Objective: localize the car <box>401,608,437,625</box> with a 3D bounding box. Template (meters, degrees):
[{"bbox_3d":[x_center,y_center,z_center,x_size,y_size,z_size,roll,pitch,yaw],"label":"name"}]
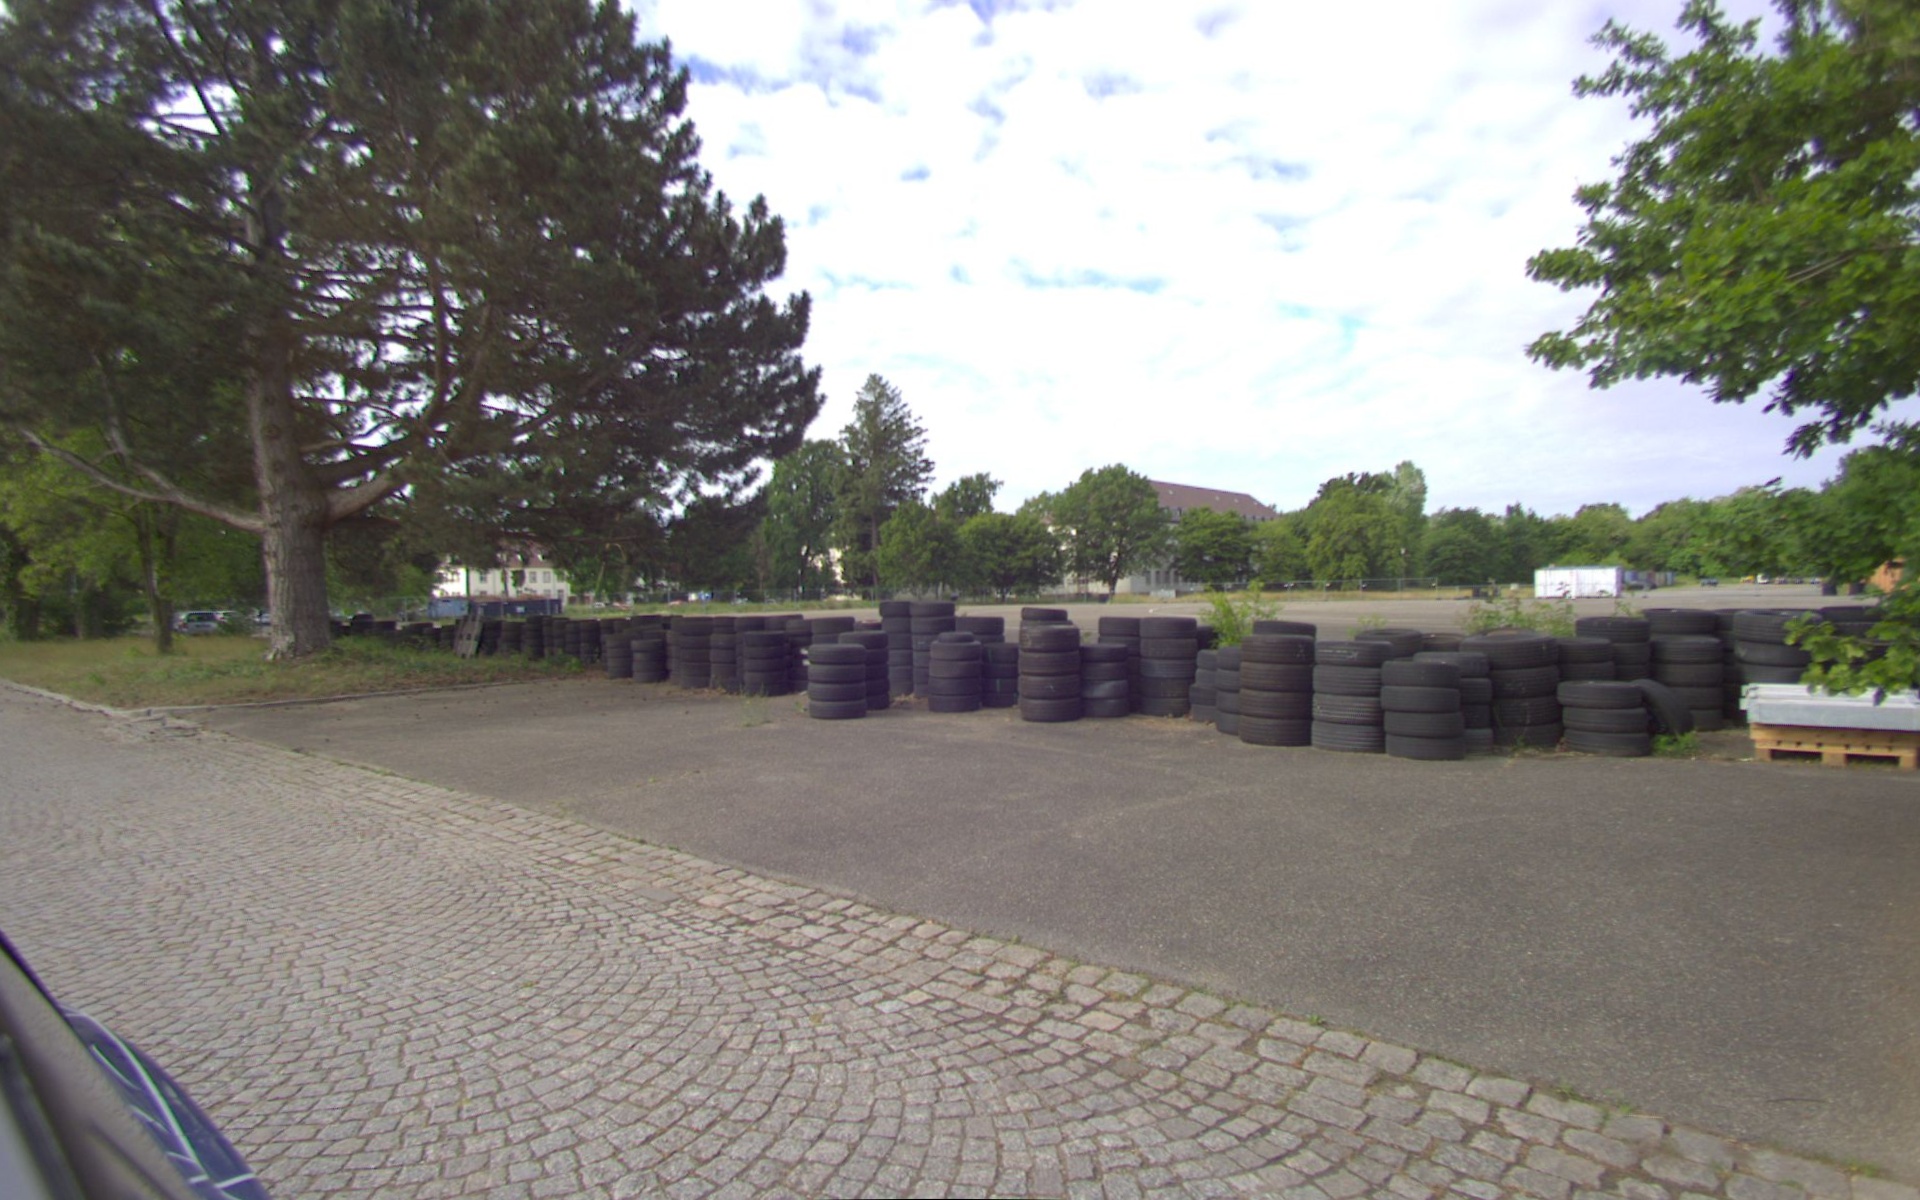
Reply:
[{"bbox_3d":[-54.846,1.672,102.649,3.797,1.696,1.728,-1,0,36],"label":"car"}]

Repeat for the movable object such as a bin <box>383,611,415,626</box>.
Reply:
[{"bbox_3d":[-44.060,1.437,79.465,2.712,1.079,1.046,-1,0,32],"label":"movable object such as a bin"}]

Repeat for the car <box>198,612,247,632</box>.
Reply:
[{"bbox_3d":[-58.620,1.750,80.379,4.446,1.460,1.975,-1,0,38],"label":"car"}]

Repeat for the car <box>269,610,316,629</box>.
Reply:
[{"bbox_3d":[-55.805,1.620,84.589,4.446,1.460,1.975,-1,0,38],"label":"car"}]

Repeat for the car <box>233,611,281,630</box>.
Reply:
[{"bbox_3d":[-57.380,1.687,82.581,4.446,1.460,1.975,-1,0,38],"label":"car"}]

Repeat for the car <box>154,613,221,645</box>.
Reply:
[{"bbox_3d":[-36.760,1.356,48.125,3.719,1.421,1.649,-1,0,39],"label":"car"}]
